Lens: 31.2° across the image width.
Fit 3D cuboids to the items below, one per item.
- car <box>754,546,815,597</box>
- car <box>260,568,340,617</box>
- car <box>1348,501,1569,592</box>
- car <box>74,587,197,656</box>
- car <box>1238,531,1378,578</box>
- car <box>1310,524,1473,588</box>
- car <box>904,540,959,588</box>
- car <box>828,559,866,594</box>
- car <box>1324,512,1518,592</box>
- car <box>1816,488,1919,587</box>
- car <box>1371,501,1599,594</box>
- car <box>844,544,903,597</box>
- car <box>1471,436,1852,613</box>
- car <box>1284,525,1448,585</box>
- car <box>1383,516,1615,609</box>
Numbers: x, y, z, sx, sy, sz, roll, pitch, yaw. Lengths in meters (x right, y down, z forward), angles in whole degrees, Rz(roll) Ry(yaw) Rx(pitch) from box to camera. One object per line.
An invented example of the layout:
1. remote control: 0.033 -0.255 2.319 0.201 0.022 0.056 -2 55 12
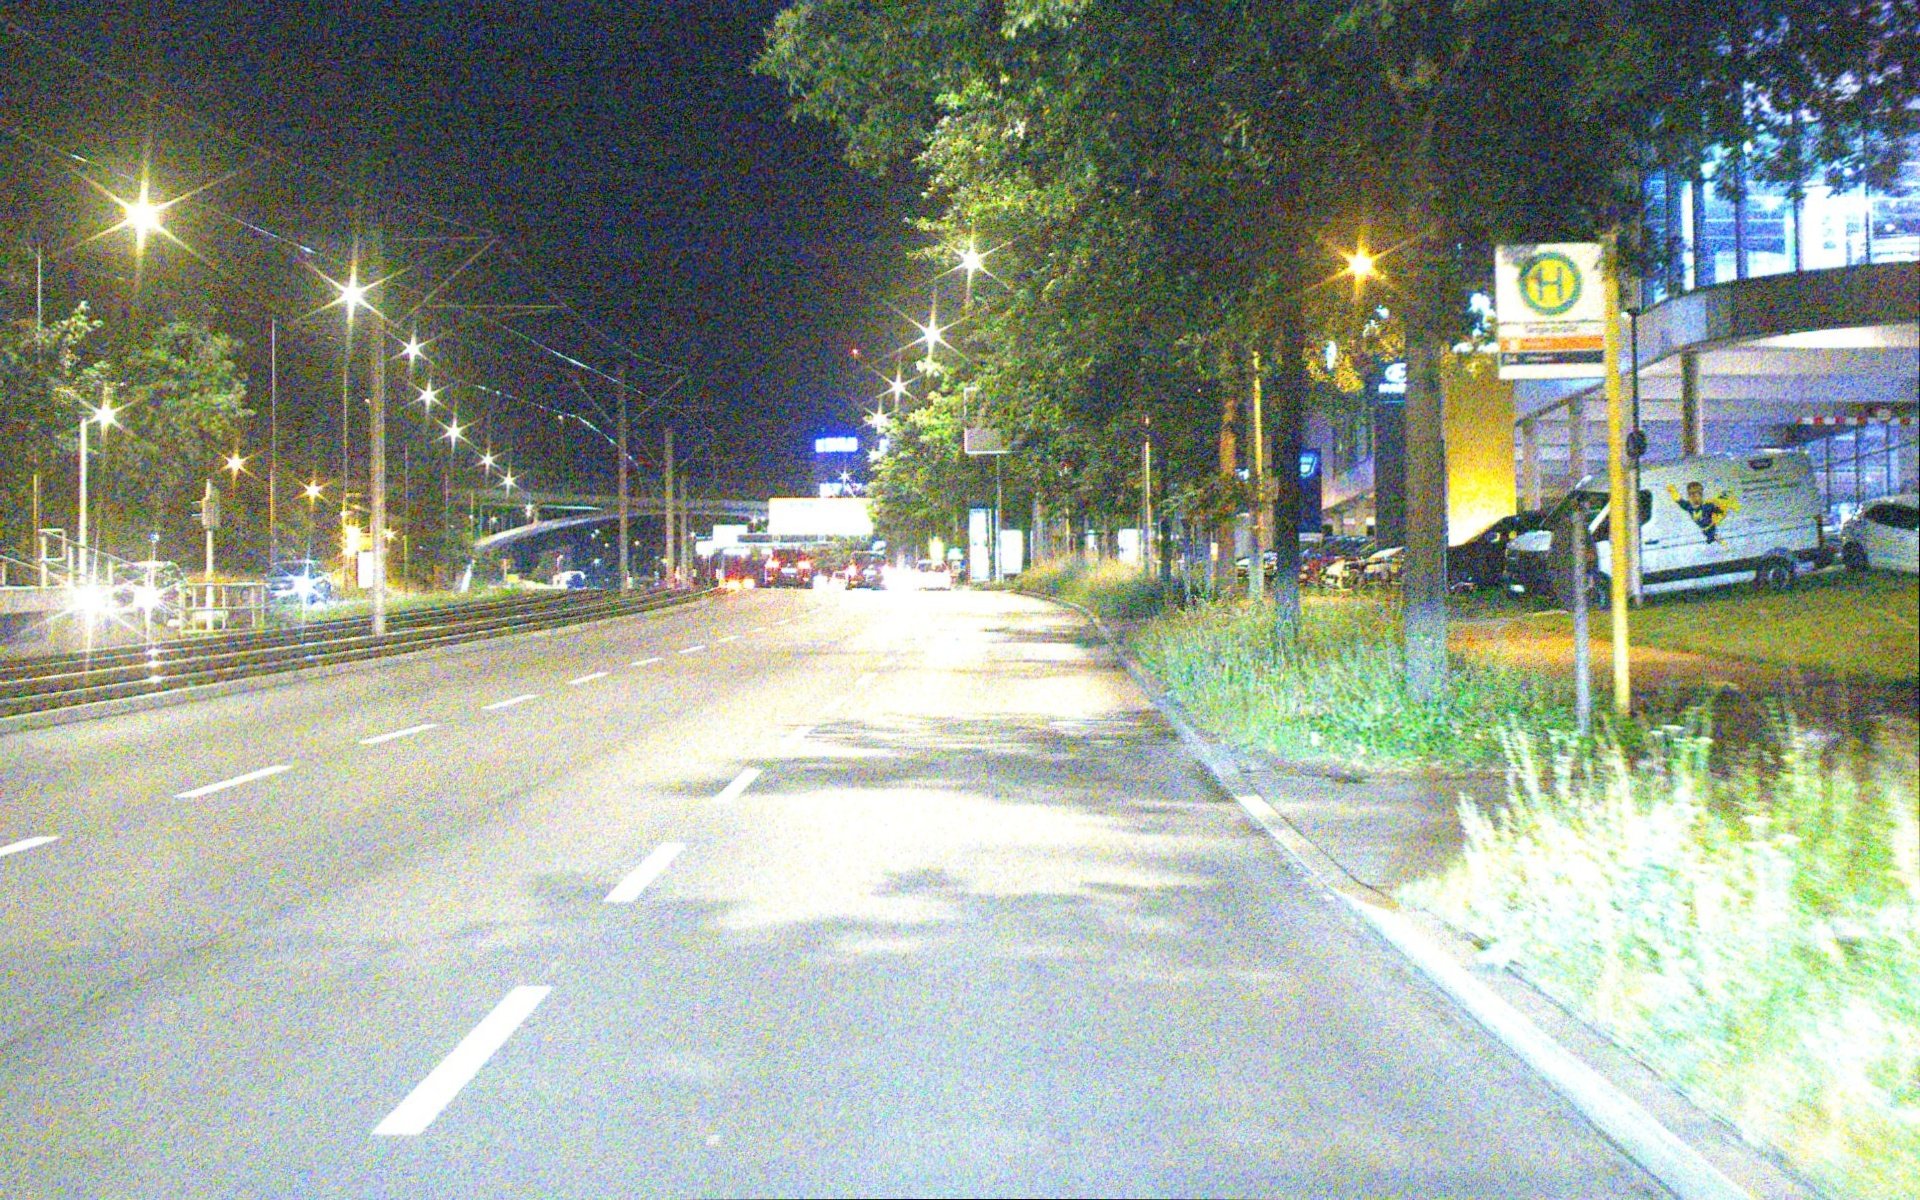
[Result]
1. car: -7.046 -1.141 138.666 2.262 2.007 4.826 0 0 -1
2. car: -20.556 -0.241 107.190 1.660 1.511 3.910 0 0 2
3. car: 11.312 -1.213 78.163 4.459 1.681 2.001 -5 2 -10
4. car: -18.283 0.483 76.365 1.784 1.492 4.174 0 -1 -1
5. car: 10.974 -1.438 108.505 3.986 1.419 1.910 -1 2 -17
6. car: 11.256 -1.155 89.722 3.801 1.448 1.718 -3 1 -14
7. car: -1.271 -1.614 154.667 2.427 2.106 4.826 0 0 -1
8. car: -6.037 -1.268 183.868 1.887 1.853 4.000 0 0 0
9. car: 10.871 -1.139 81.194 4.079 1.563 1.855 -5 2 -10
10. car: 17.226 -1.147 61.159 1.805 1.706 3.968 -3 1 -22
11. car: 11.483 -1.160 75.302 4.459 1.804 2.001 -3 1 -11
12. car: -3.527 -1.193 141.123 2.356 2.122 4.826 0 0 -1
13. car: 12.325 -1.333 60.467 6.015 2.520 2.284 -6 2 -16
14. car: 11.198 -1.234 94.937 4.022 1.369 1.826 -4 1 -16
15. car: 11.004 -0.772 70.326 4.201 1.657 1.961 -3 1 -10
